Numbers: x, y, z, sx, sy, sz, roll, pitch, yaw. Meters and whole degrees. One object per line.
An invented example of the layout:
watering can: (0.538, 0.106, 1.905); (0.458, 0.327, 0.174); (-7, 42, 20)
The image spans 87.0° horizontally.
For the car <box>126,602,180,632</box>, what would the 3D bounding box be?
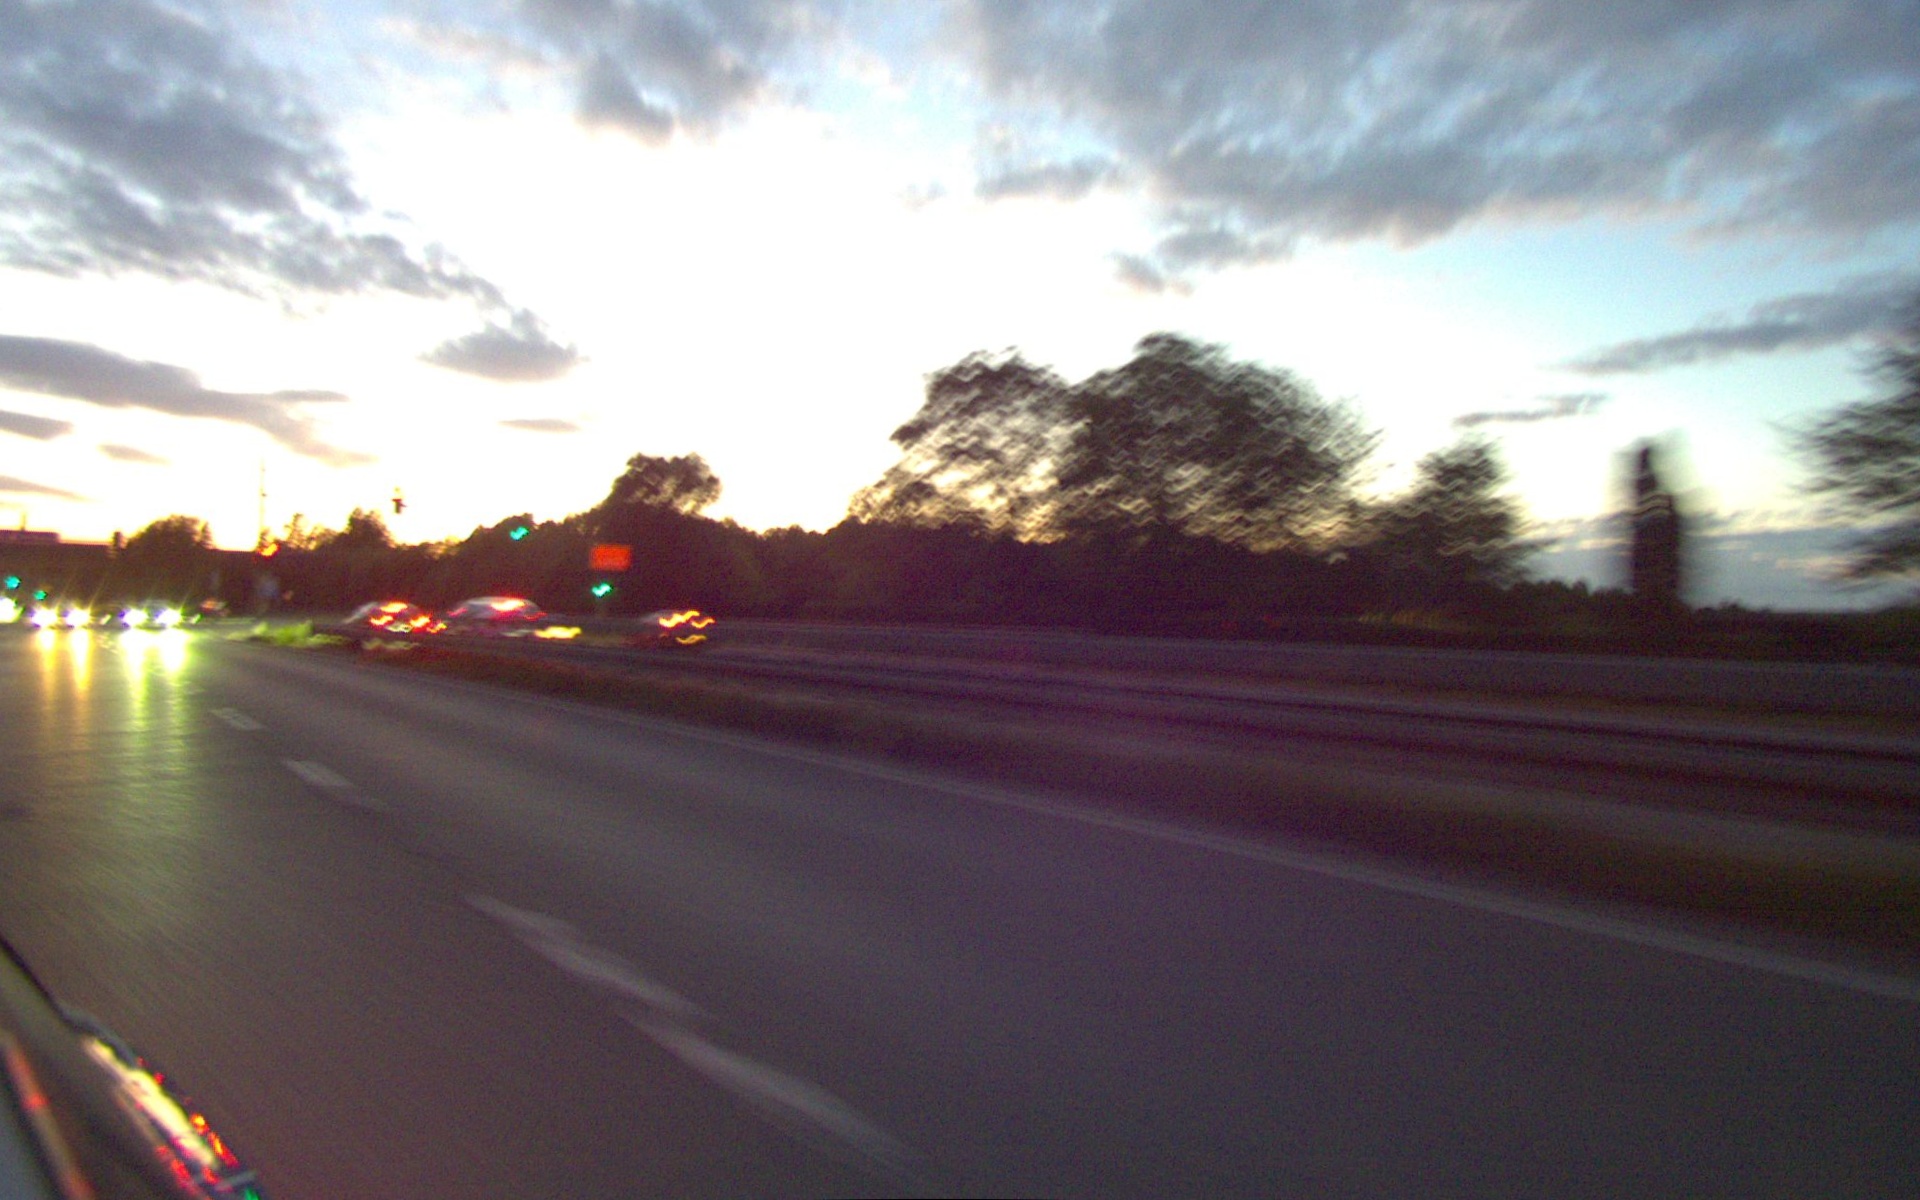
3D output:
car: (-41.950, 0.861, 52.558); (1.969, 1.464, 4.741); (1, 0, -41)

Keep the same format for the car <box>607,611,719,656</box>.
car: (-10.761, 1.183, 36.506); (1.970, 1.464, 4.739); (2, -1, -43)

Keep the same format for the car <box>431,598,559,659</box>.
car: (-13.375, 0.781, 28.957); (1.969, 1.582, 4.829); (3, -2, -42)

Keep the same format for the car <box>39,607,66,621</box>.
car: (-108.409, 1.683, 120.972); (2.026, 1.608, 4.009); (1, -1, -37)

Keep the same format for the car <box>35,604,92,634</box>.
car: (-46.662, 0.996, 52.654); (1.970, 1.464, 4.002); (4, -3, -45)

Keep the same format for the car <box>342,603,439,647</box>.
car: (-20.662, 0.878, 36.601); (1.969, 1.464, 5.053); (3, -2, -42)

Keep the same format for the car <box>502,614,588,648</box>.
car: (-18.523, 1.361, 45.057); (1.970, 1.464, 4.738); (2, -2, -44)

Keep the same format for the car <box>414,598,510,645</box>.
car: (-19.906, 0.834, 40.355); (1.970, 1.694, 4.877); (2, -1, -45)
